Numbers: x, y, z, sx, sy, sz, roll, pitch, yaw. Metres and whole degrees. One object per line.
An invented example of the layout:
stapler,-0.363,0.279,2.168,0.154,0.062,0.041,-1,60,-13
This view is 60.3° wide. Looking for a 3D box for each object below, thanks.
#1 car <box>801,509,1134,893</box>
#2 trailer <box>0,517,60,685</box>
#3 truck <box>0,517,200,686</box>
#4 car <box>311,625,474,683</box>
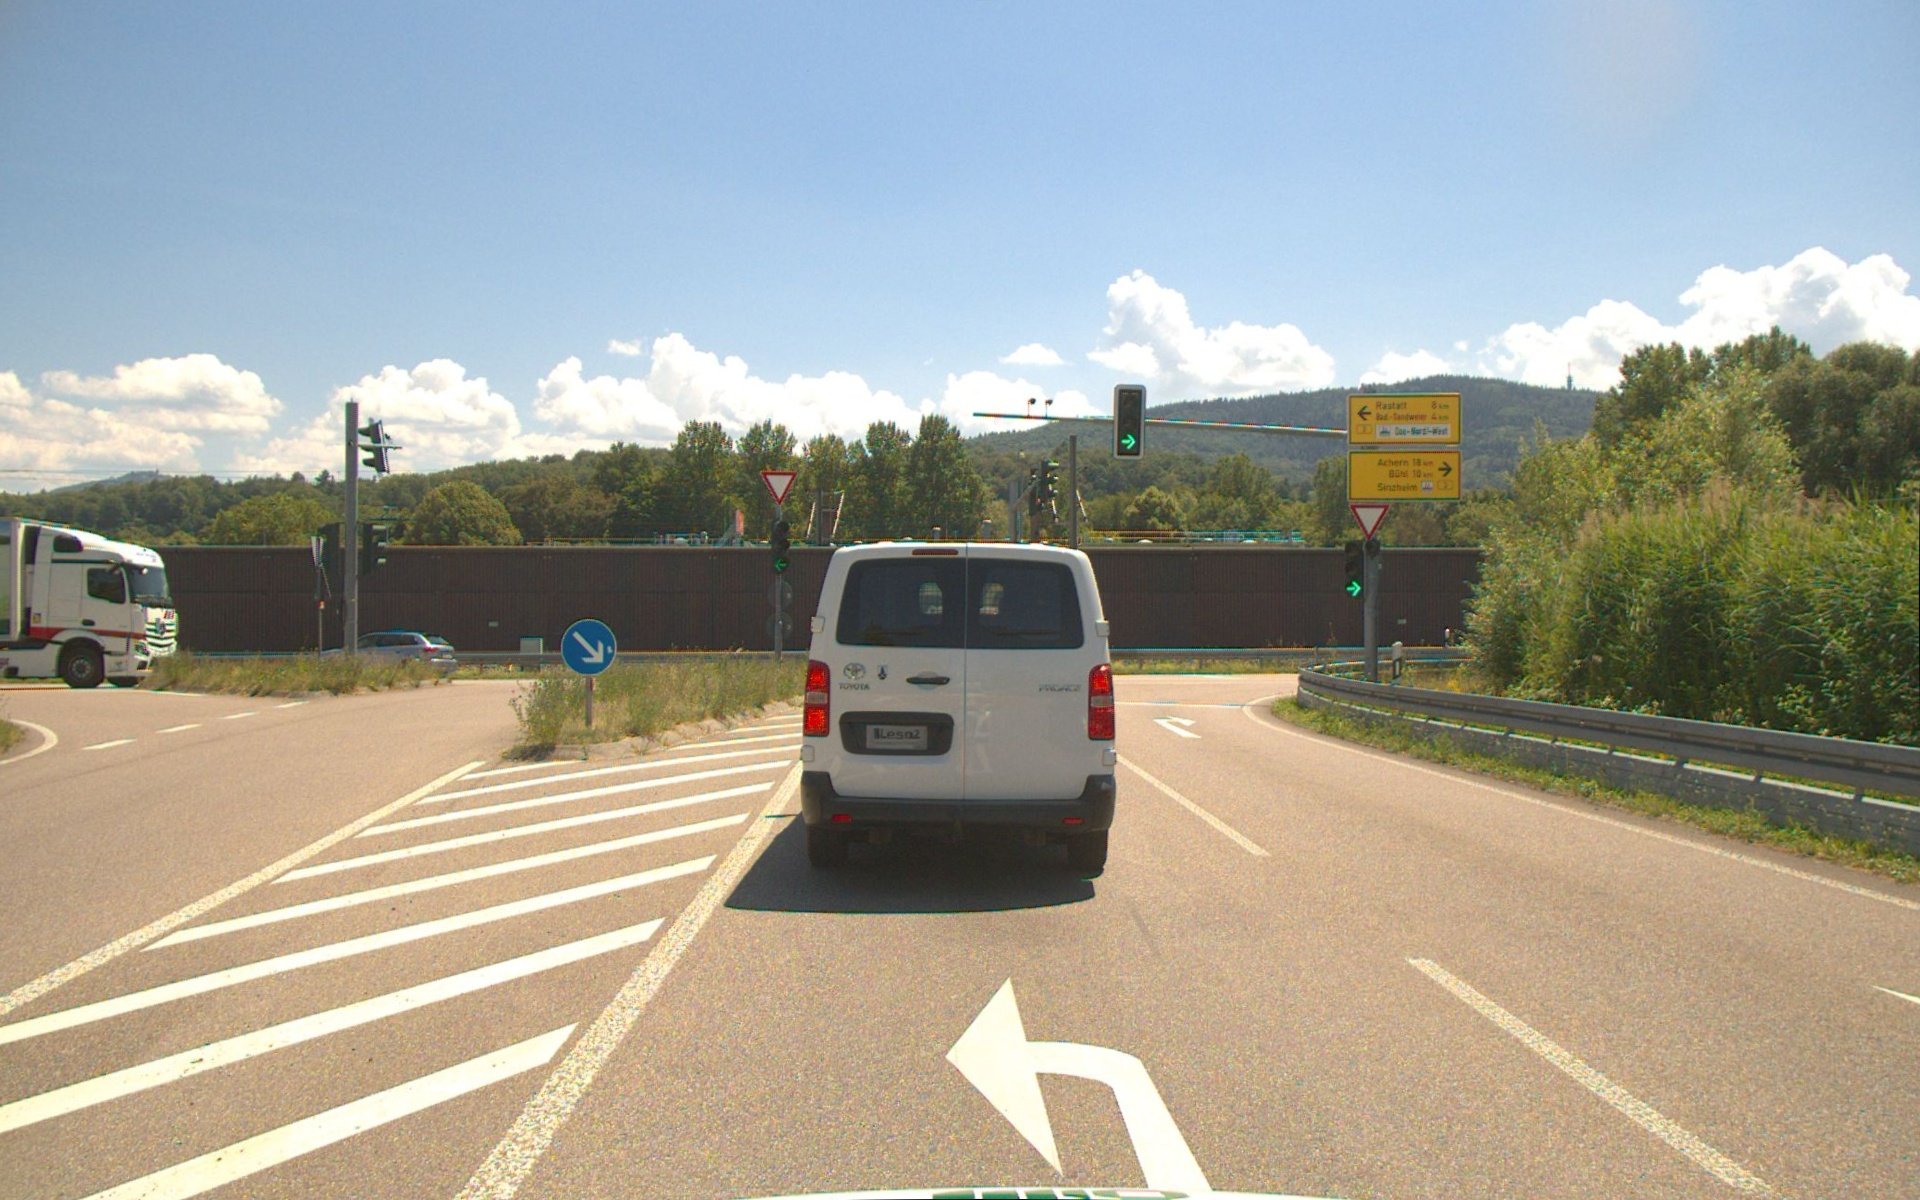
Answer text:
car,0.012,0.561,10.877,1.778,2.053,3.999,0,-1,-1
trailer,-29.533,0.014,40.677,12.877,4.024,3.060,0,-1,-3
truck,-22.405,0.060,41.024,5.649,4.024,3.060,0,-1,-3
car,-16.104,1.510,47.038,3.902,1.579,2.002,0,-1,10
